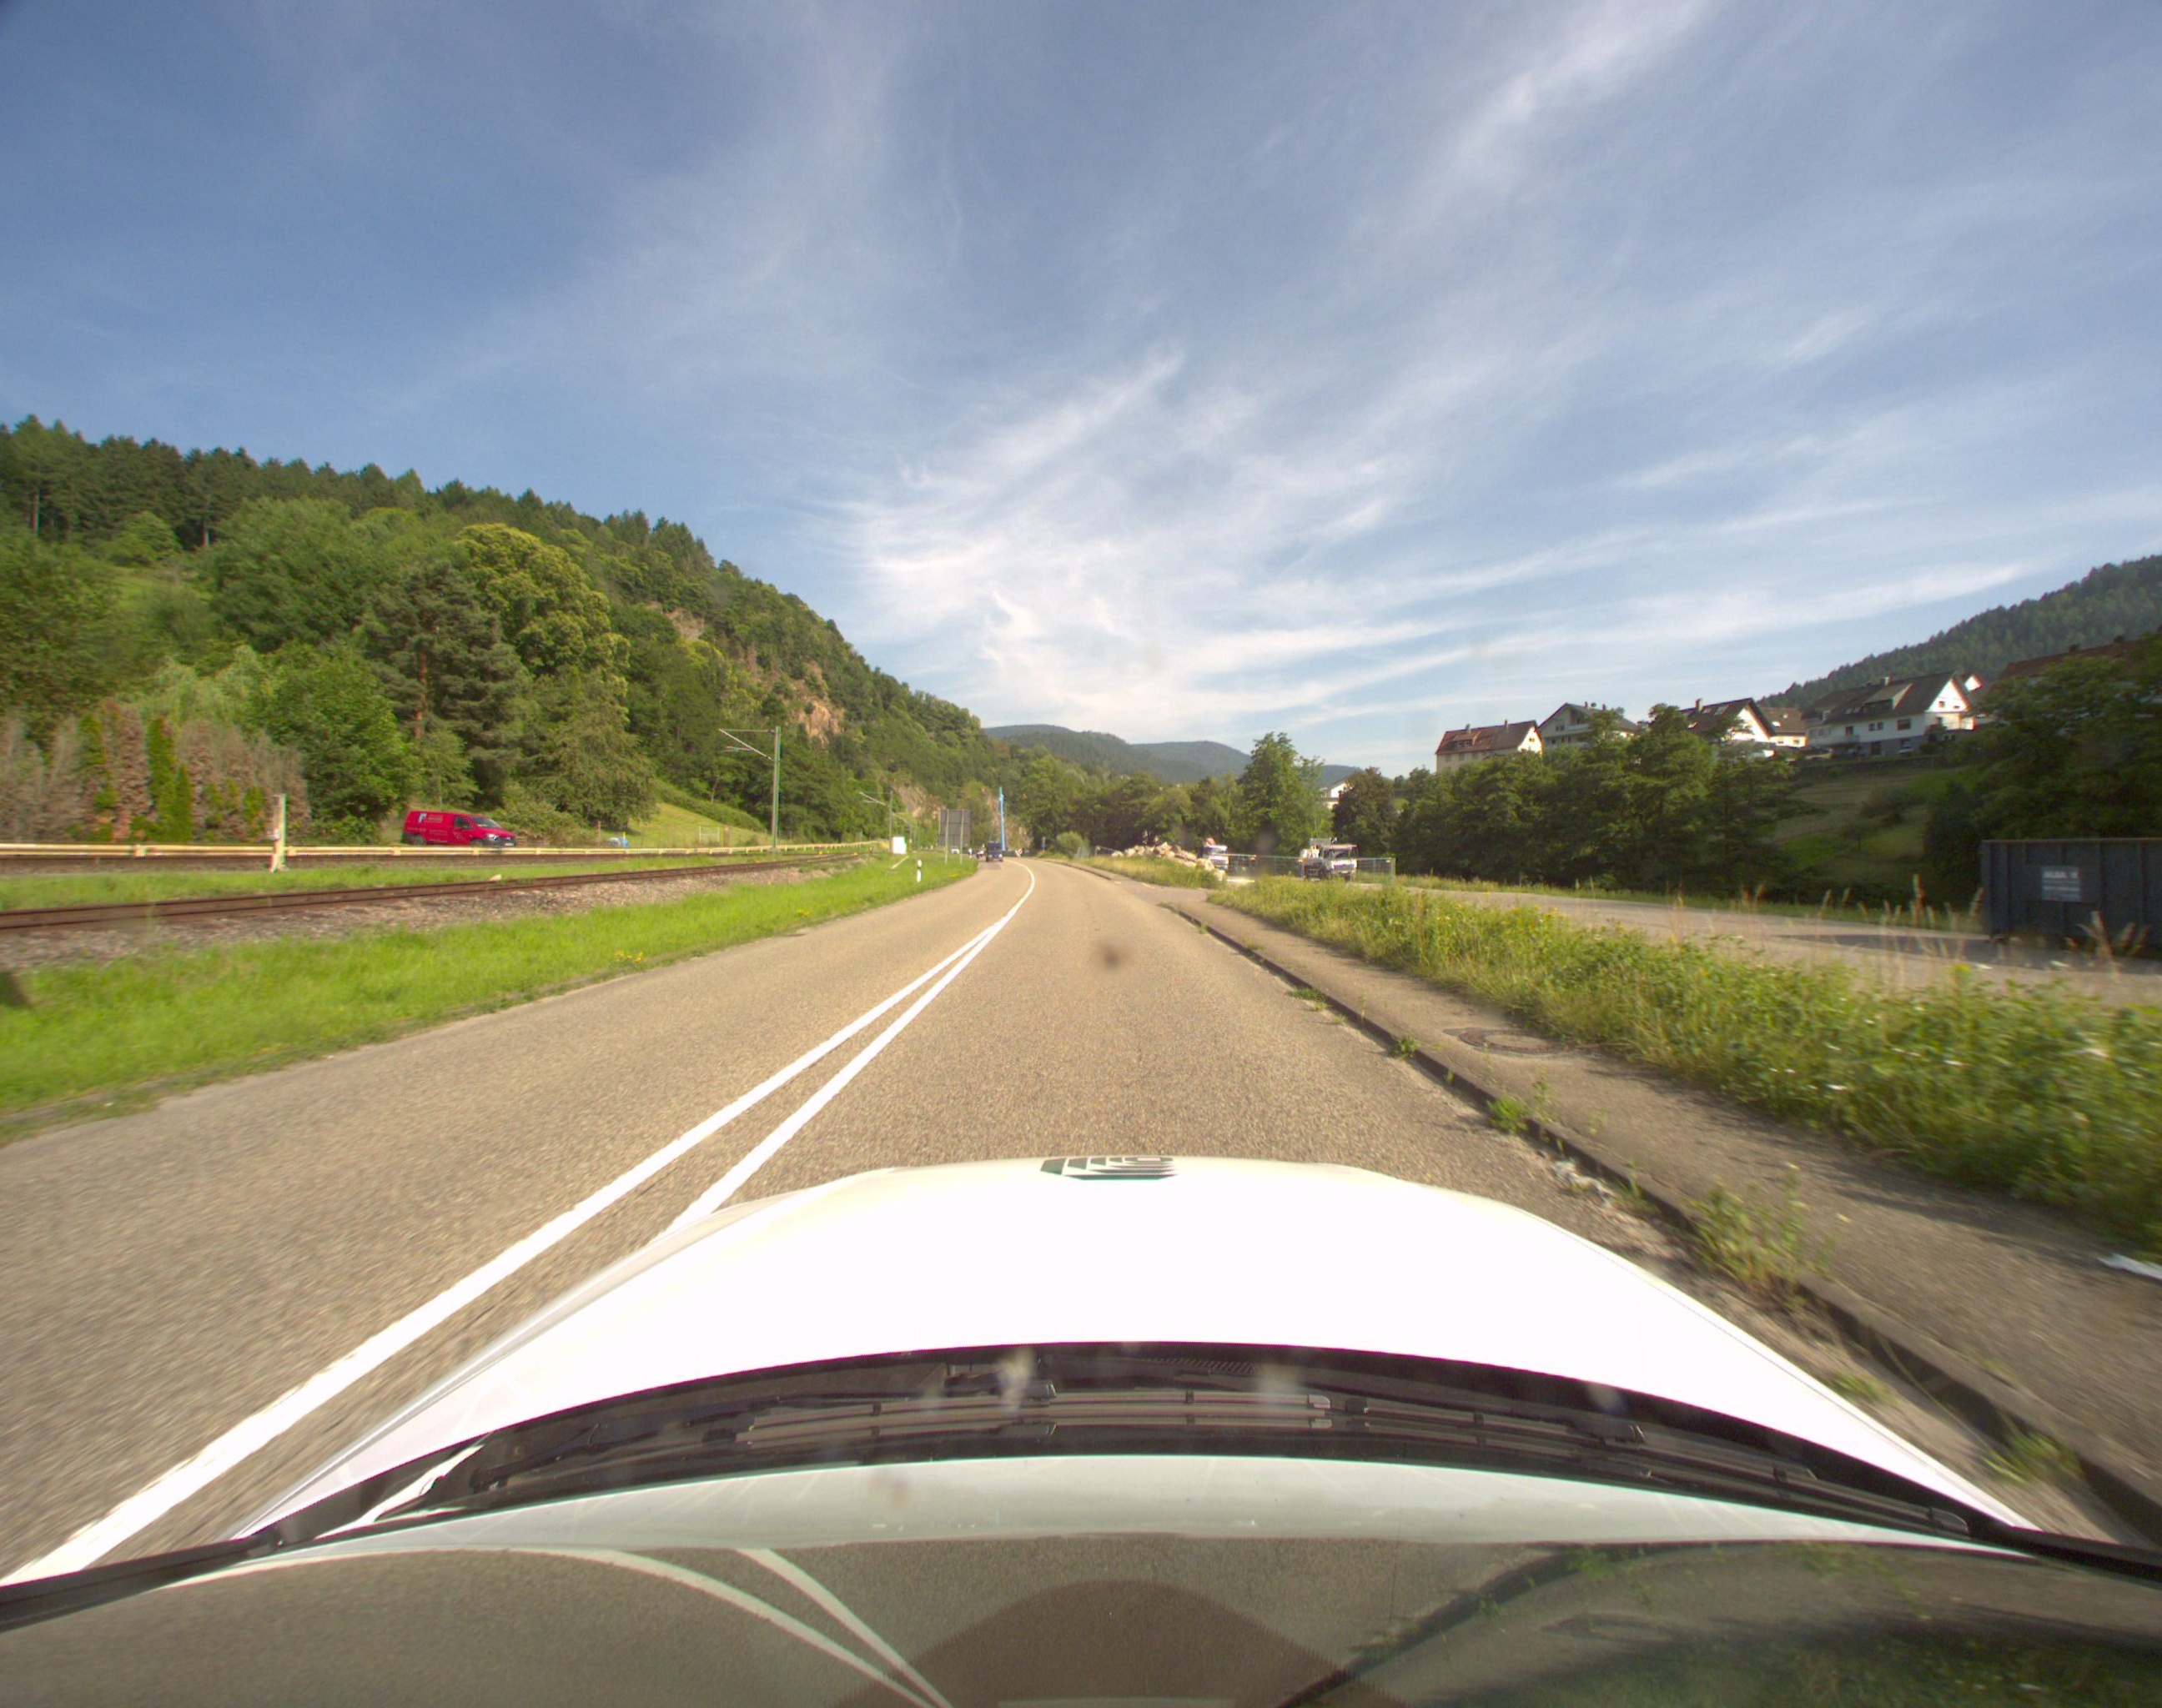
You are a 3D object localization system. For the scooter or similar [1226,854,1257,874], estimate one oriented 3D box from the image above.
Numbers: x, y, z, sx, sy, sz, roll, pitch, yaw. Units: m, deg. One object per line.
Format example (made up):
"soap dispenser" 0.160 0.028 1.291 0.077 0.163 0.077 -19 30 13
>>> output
"scooter or similar" 16.532 1.007 84.039 1.992 2.013 3.989 0 0 -8

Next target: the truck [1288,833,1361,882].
"truck" 20.174 0.257 67.969 3.096 3.782 8.636 2 0 -3

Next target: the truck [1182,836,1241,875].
"truck" 13.442 0.129 84.762 3.105 3.782 8.611 2 0 -11

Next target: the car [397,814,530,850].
"car" -31.402 -1.111 41.536 4.942 1.691 2.458 1 0 4

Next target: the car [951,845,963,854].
"car" -26.359 -0.929 173.164 1.873 1.781 4.577 1 1 -15

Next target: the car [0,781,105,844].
"car" -31.557 -1.202 23.589 4.129 1.691 2.001 1 0 1

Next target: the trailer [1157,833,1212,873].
"trailer" 11.785 -0.109 93.835 3.366 4.274 9.871 2 -1 -11

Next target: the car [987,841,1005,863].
"car" -10.649 -0.253 102.313 2.123 2.615 5.469 -1 1 -5
